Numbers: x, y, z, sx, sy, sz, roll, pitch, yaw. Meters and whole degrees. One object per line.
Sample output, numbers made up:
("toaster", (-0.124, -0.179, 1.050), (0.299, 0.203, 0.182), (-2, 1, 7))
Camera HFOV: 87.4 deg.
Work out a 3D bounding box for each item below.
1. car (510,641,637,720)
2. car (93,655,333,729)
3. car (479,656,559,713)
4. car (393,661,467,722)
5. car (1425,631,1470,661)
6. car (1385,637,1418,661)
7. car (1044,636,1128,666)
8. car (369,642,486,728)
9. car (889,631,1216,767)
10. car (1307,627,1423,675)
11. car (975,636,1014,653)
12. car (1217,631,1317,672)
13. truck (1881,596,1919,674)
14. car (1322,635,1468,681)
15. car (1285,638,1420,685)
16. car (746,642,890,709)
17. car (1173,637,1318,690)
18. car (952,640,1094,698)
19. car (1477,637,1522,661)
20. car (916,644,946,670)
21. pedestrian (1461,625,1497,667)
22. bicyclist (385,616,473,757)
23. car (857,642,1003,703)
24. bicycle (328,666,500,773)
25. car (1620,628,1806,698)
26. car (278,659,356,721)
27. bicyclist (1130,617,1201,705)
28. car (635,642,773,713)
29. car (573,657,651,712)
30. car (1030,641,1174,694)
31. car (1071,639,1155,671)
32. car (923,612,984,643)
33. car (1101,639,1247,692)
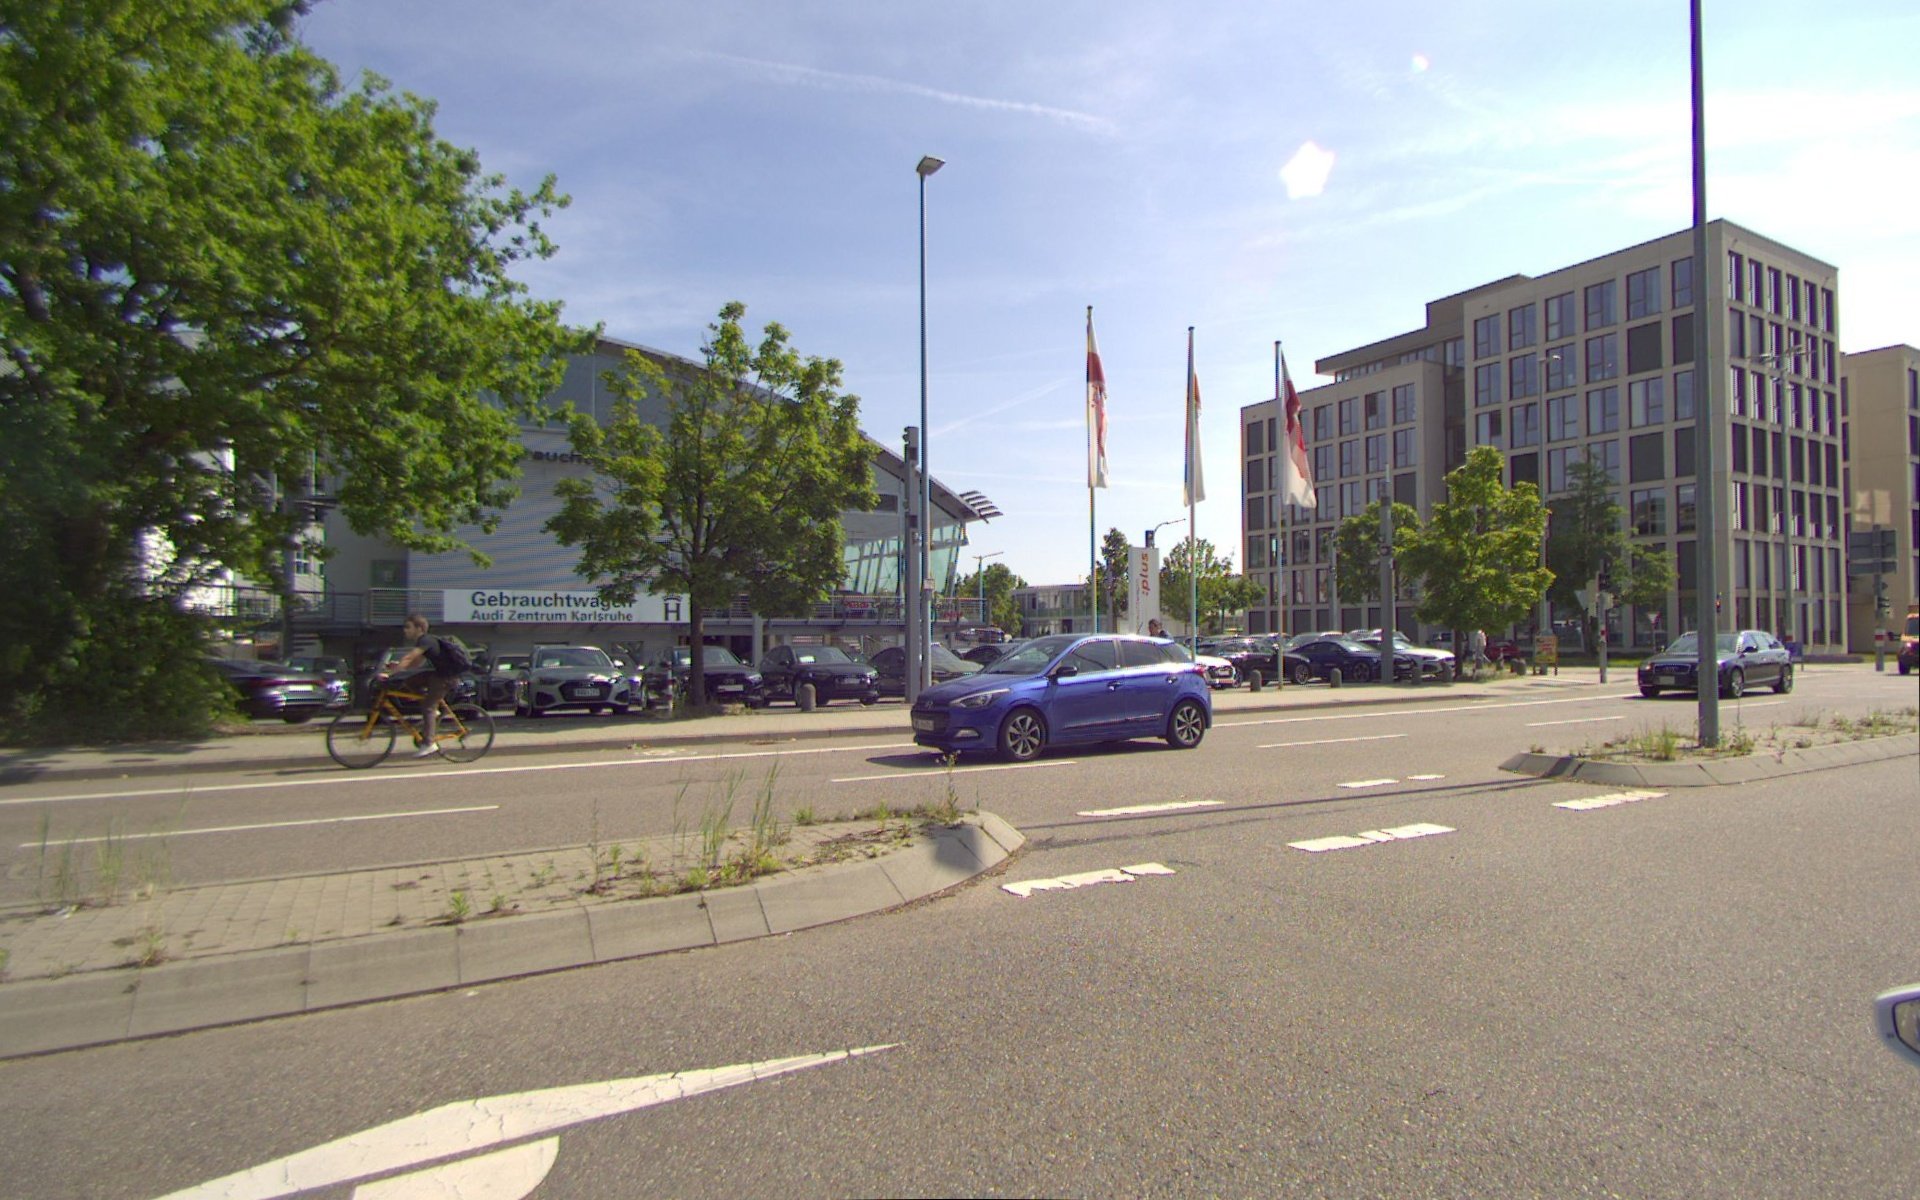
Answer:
("car", (-7.928, 1.642, 20.369), (1.781, 1.412, 4.198), (1, -5, -30))
("car", (-14.935, 1.828, 20.180), (3.762, 1.350, 1.691), (-1, -2, 8))
("car", (-13.156, 2.460, 29.858), (1.783, 1.492, 3.800), (1, -2, -30))
("car", (-15.160, 2.548, 28.643), (1.671, 1.492, 3.798), (1, -2, -31))
("car", (32.215, 3.024, 66.506), (1.860, 1.845, 4.816), (-1, -2, 16))
("car", (30.384, 3.367, 69.195), (1.772, 1.533, 4.000), (-1, -2, 20))
("car", (7.113, 2.845, 56.489), (4.506, 1.461, 1.779), (-1, -2, -31))
("car", (-10.188, 1.608, 19.090), (1.788, 1.420, 4.006), (1, -5, -31))
("car", (1.204, 1.155, 12.620), (3.826, 1.457, 1.719), (1, -4, -32))
("car", (16.146, 1.996, 39.975), (4.540, 1.635, 1.806), (-2, -1, -30))
("car", (4.016, 5.173, 117.126), (4.189, 1.965, 1.885), (1, -2, -30))
("car", (13.745, 2.279, 44.898), (4.325, 1.564, 1.779), (-2, -1, -31))
("truck", (35.641, 1.255, 36.285), (6.612, 2.659, 2.358), (1, -3, -38))
("car", (14.696, 1.941, 34.217), (1.876, 1.451, 4.357), (1, -3, -28))
("car", (12.704, 1.959, 32.727), (1.744, 1.421, 3.815), (1, -3, -31))
("car", (-3.385, 1.762, 23.226), (1.809, 1.372, 4.261), (1, -5, -31))
("car", (8.880, 1.913, 31.171), (4.373, 1.515, 1.790), (1, -2, -30))
("car", (1.519, 1.806, 25.888), (1.815, 1.336, 3.972), (1, -5, -29))
("car", (33.969, 3.091, 63.379), (1.772, 1.434, 4.031), (-1, -2, 18))
("car", (-1.725, 3.445, 61.078), (1.762, 1.461, 4.028), (0, -2, -1))
("pedestrian", (21.947, 1.939, 42.457), (0.906, 1.772, 0.996), (1, -2, -30))
("bicyclist", (-6.325, 1.013, 11.998), (0.899, 1.617, 0.574), (1, -3, -28))
("car", (-0.835, 1.804, 24.671), (1.833, 1.352, 4.157), (1, -5, -30))
("bicycle", (-6.439, 1.379, 11.923), (1.747, 1.165, 0.569), (1, -3, -28))
("car", (17.347, 1.421, 23.086), (4.612, 1.478, 1.837), (1, -4, -32))
("car", (-17.468, 2.389, 27.391), (1.671, 1.456, 3.797), (1, -2, -32))
("bicyclist", (3.631, 1.063, 17.757), (1.129, 1.502, 0.568), (1, -2, -28))
("car", (-5.650, 1.693, 21.805), (1.814, 1.372, 4.091), (1, -5, -31))
("car", (-10.844, 2.573, 31.177), (1.670, 1.492, 3.643), (1, -2, -30))
("car", (3.770, 1.871, 27.374), (1.846, 1.336, 3.971), (1, -5, -30))
("car", (8.238, 2.919, 54.009), (4.351, 1.461, 1.779), (-1, -1, -31))
("car", (-0.472, 1.859, 68.328), (2.066, 1.932, 4.509), (5, -4, -31))
("car", (6.018, 1.898, 28.701), (1.856, 1.387, 4.055), (1, -5, -30))
